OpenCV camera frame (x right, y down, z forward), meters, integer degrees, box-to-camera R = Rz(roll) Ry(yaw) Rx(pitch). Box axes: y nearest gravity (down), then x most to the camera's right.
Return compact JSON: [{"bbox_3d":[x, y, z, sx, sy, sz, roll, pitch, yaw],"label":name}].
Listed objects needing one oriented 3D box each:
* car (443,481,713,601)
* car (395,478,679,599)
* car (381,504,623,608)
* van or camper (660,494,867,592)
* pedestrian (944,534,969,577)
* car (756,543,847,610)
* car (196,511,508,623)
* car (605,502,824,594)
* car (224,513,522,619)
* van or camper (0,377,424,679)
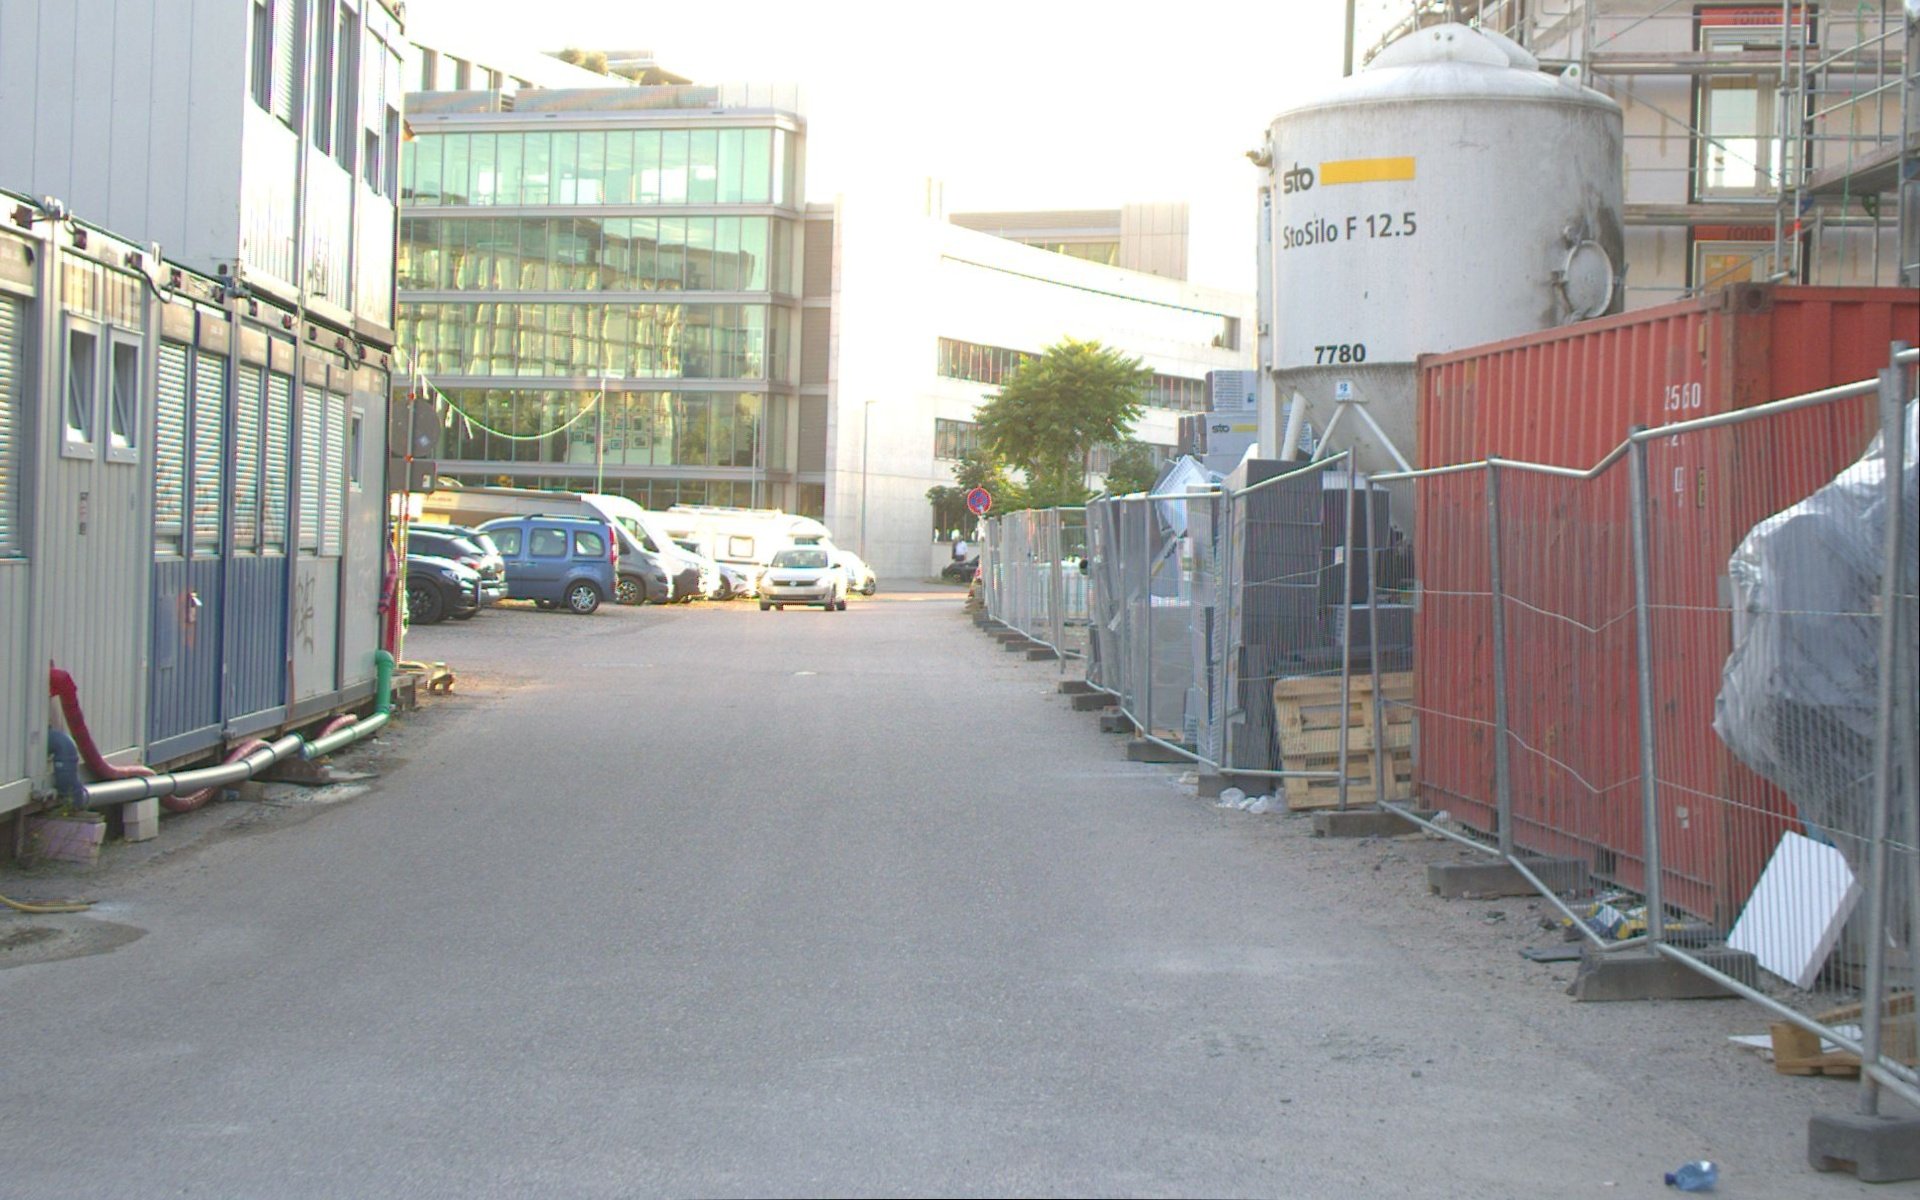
[{"bbox_3d":[-9.292,-1.441,83.995,6.328,2.731,2.000,1,1,-1],"label":"car"},{"bbox_3d":[-9.818,-1.429,80.089,6.328,2.642,2.000,1,1,-1],"label":"car"},{"bbox_3d":[-8.797,-0.850,66.220,4.503,1.862,2.000,1,1,-7],"label":"car"},{"bbox_3d":[-6.450,-1.865,113.191,6.336,2.968,2.291,2,0,11],"label":"van or camper"},{"bbox_3d":[-0.148,-1.883,145.093,0.764,1.810,0.844,2,1,22],"label":"pedestrian"},{"bbox_3d":[-3.766,-0.579,82.321,1.665,1.523,3.910,1,1,5],"label":"car"},{"bbox_3d":[-9.709,-0.539,55.100,4.505,1.642,1.999,1,1,8],"label":"car"},{"bbox_3d":[-7.075,-1.501,99.273,5.926,2.481,1.999,2,1,10],"label":"car"},{"bbox_3d":[-9.833,-0.586,57.747,4.505,1.642,1.999,1,1,8],"label":"car"},{"bbox_3d":[-10.388,-0.828,37.011,8.765,3.038,2.595,1,1,1],"label":"van or camper"}]
